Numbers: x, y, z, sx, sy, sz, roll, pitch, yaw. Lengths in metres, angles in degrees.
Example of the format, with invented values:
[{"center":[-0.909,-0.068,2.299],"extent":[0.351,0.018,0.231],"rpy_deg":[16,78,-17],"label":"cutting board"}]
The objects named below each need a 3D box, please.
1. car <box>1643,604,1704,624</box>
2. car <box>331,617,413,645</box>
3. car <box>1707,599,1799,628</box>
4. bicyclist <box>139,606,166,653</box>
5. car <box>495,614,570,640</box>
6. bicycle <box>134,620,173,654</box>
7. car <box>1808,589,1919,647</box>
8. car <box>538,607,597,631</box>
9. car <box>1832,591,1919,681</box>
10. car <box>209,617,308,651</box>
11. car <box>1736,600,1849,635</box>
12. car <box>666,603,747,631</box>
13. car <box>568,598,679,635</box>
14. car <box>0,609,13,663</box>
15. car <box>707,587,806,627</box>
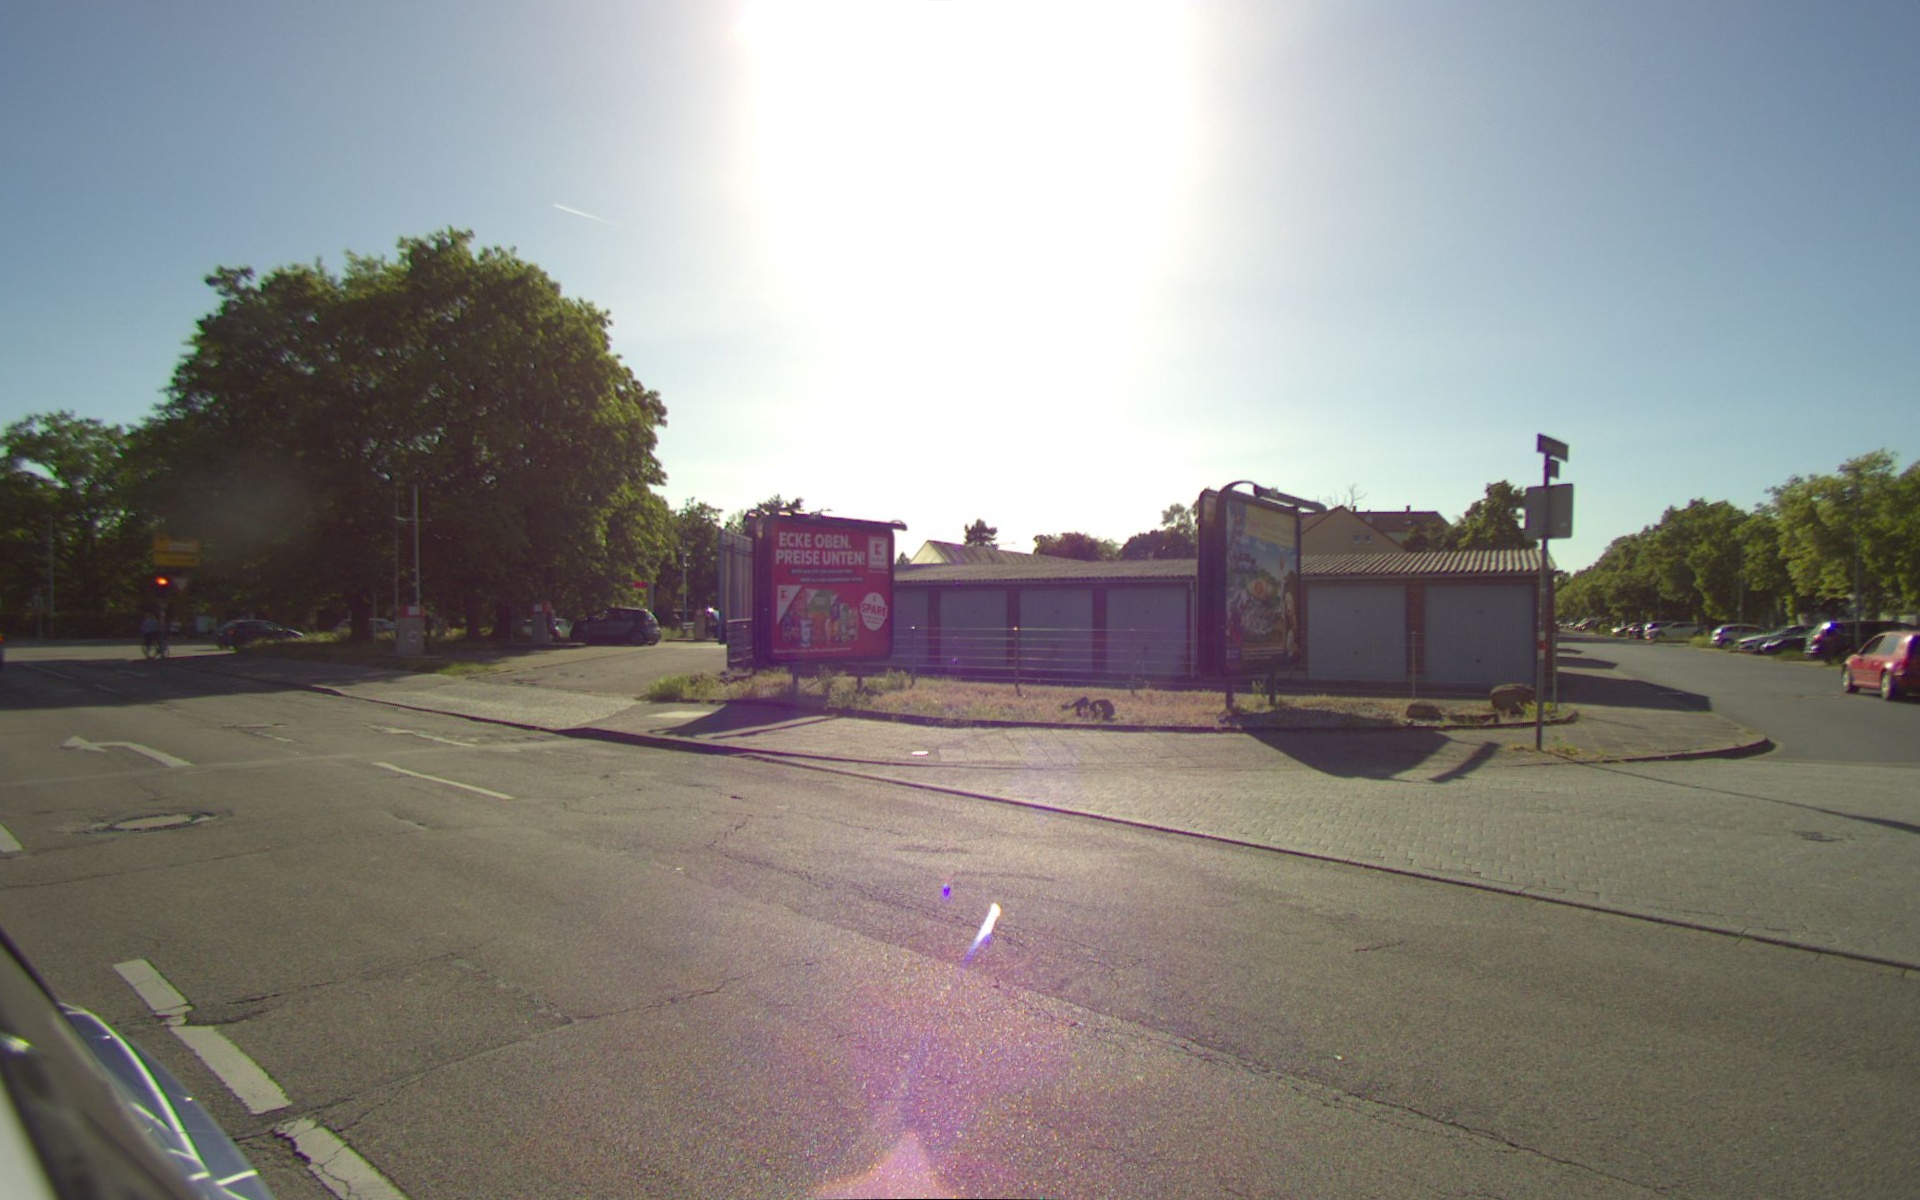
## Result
[{"center":[59.663,1.224,84.679],"extent":[3.982,1.632,1.639],"rpy_deg":[-1,-1,29],"label":"car"},{"center":[-35.013,1.849,60.383],"extent":[3.932,1.552,1.629],"rpy_deg":[1,1,-15],"label":"car"},{"center":[46.331,0.808,59.251],"extent":[3.982,1.632,1.639],"rpy_deg":[-1,-1,29],"label":"car"},{"center":[-28.784,1.037,36.070],"extent":[0.828,1.654,0.536],"rpy_deg":[-1,0,35],"label":"bicyclist"},{"center":[-28.168,1.748,66.804],"extent":[1.913,1.497,4.320],"rpy_deg":[2,1,30],"label":"car"},{"center":[-28.715,1.314,36.023],"extent":[2.022,1.150,0.522],"rpy_deg":[-1,0,36],"label":"bicycle"},{"center":[32.175,0.597,35.259],"extent":[3.998,1.940,1.822],"rpy_deg":[0,0,41],"label":"car"},{"center":[-28.783,1.350,74.314],"extent":[1.685,1.450,3.875],"rpy_deg":[0,3,28],"label":"car"},{"center":[20.009,0.677,20.943],"extent":[2.009,1.580,4.351],"rpy_deg":[-2,1,28],"label":"car"},{"center":[-36.165,1.745,52.291],"extent":[1.685,1.450,3.874],"rpy_deg":[2,2,28],"label":"car"},{"center":[40.761,0.831,49.659],"extent":[3.978,1.632,1.640],"rpy_deg":[0,0,26],"label":"car"},{"center":[-13.512,0.907,54.024],"extent":[3.863,1.347,1.568],"rpy_deg":[1,1,10],"label":"car"},{"center":[-13.778,0.647,41.574],"extent":[3.950,1.386,1.757],"rpy_deg":[1,1,6],"label":"car"},{"center":[-28.829,1.019,29.115],"extent":[4.887,1.500,1.817],"rpy_deg":[-1,0,41],"label":"car"},{"center":[-12.008,0.367,59.642],"extent":[5.622,2.115,1.983],"rpy_deg":[2,1,26],"label":"car"}]
